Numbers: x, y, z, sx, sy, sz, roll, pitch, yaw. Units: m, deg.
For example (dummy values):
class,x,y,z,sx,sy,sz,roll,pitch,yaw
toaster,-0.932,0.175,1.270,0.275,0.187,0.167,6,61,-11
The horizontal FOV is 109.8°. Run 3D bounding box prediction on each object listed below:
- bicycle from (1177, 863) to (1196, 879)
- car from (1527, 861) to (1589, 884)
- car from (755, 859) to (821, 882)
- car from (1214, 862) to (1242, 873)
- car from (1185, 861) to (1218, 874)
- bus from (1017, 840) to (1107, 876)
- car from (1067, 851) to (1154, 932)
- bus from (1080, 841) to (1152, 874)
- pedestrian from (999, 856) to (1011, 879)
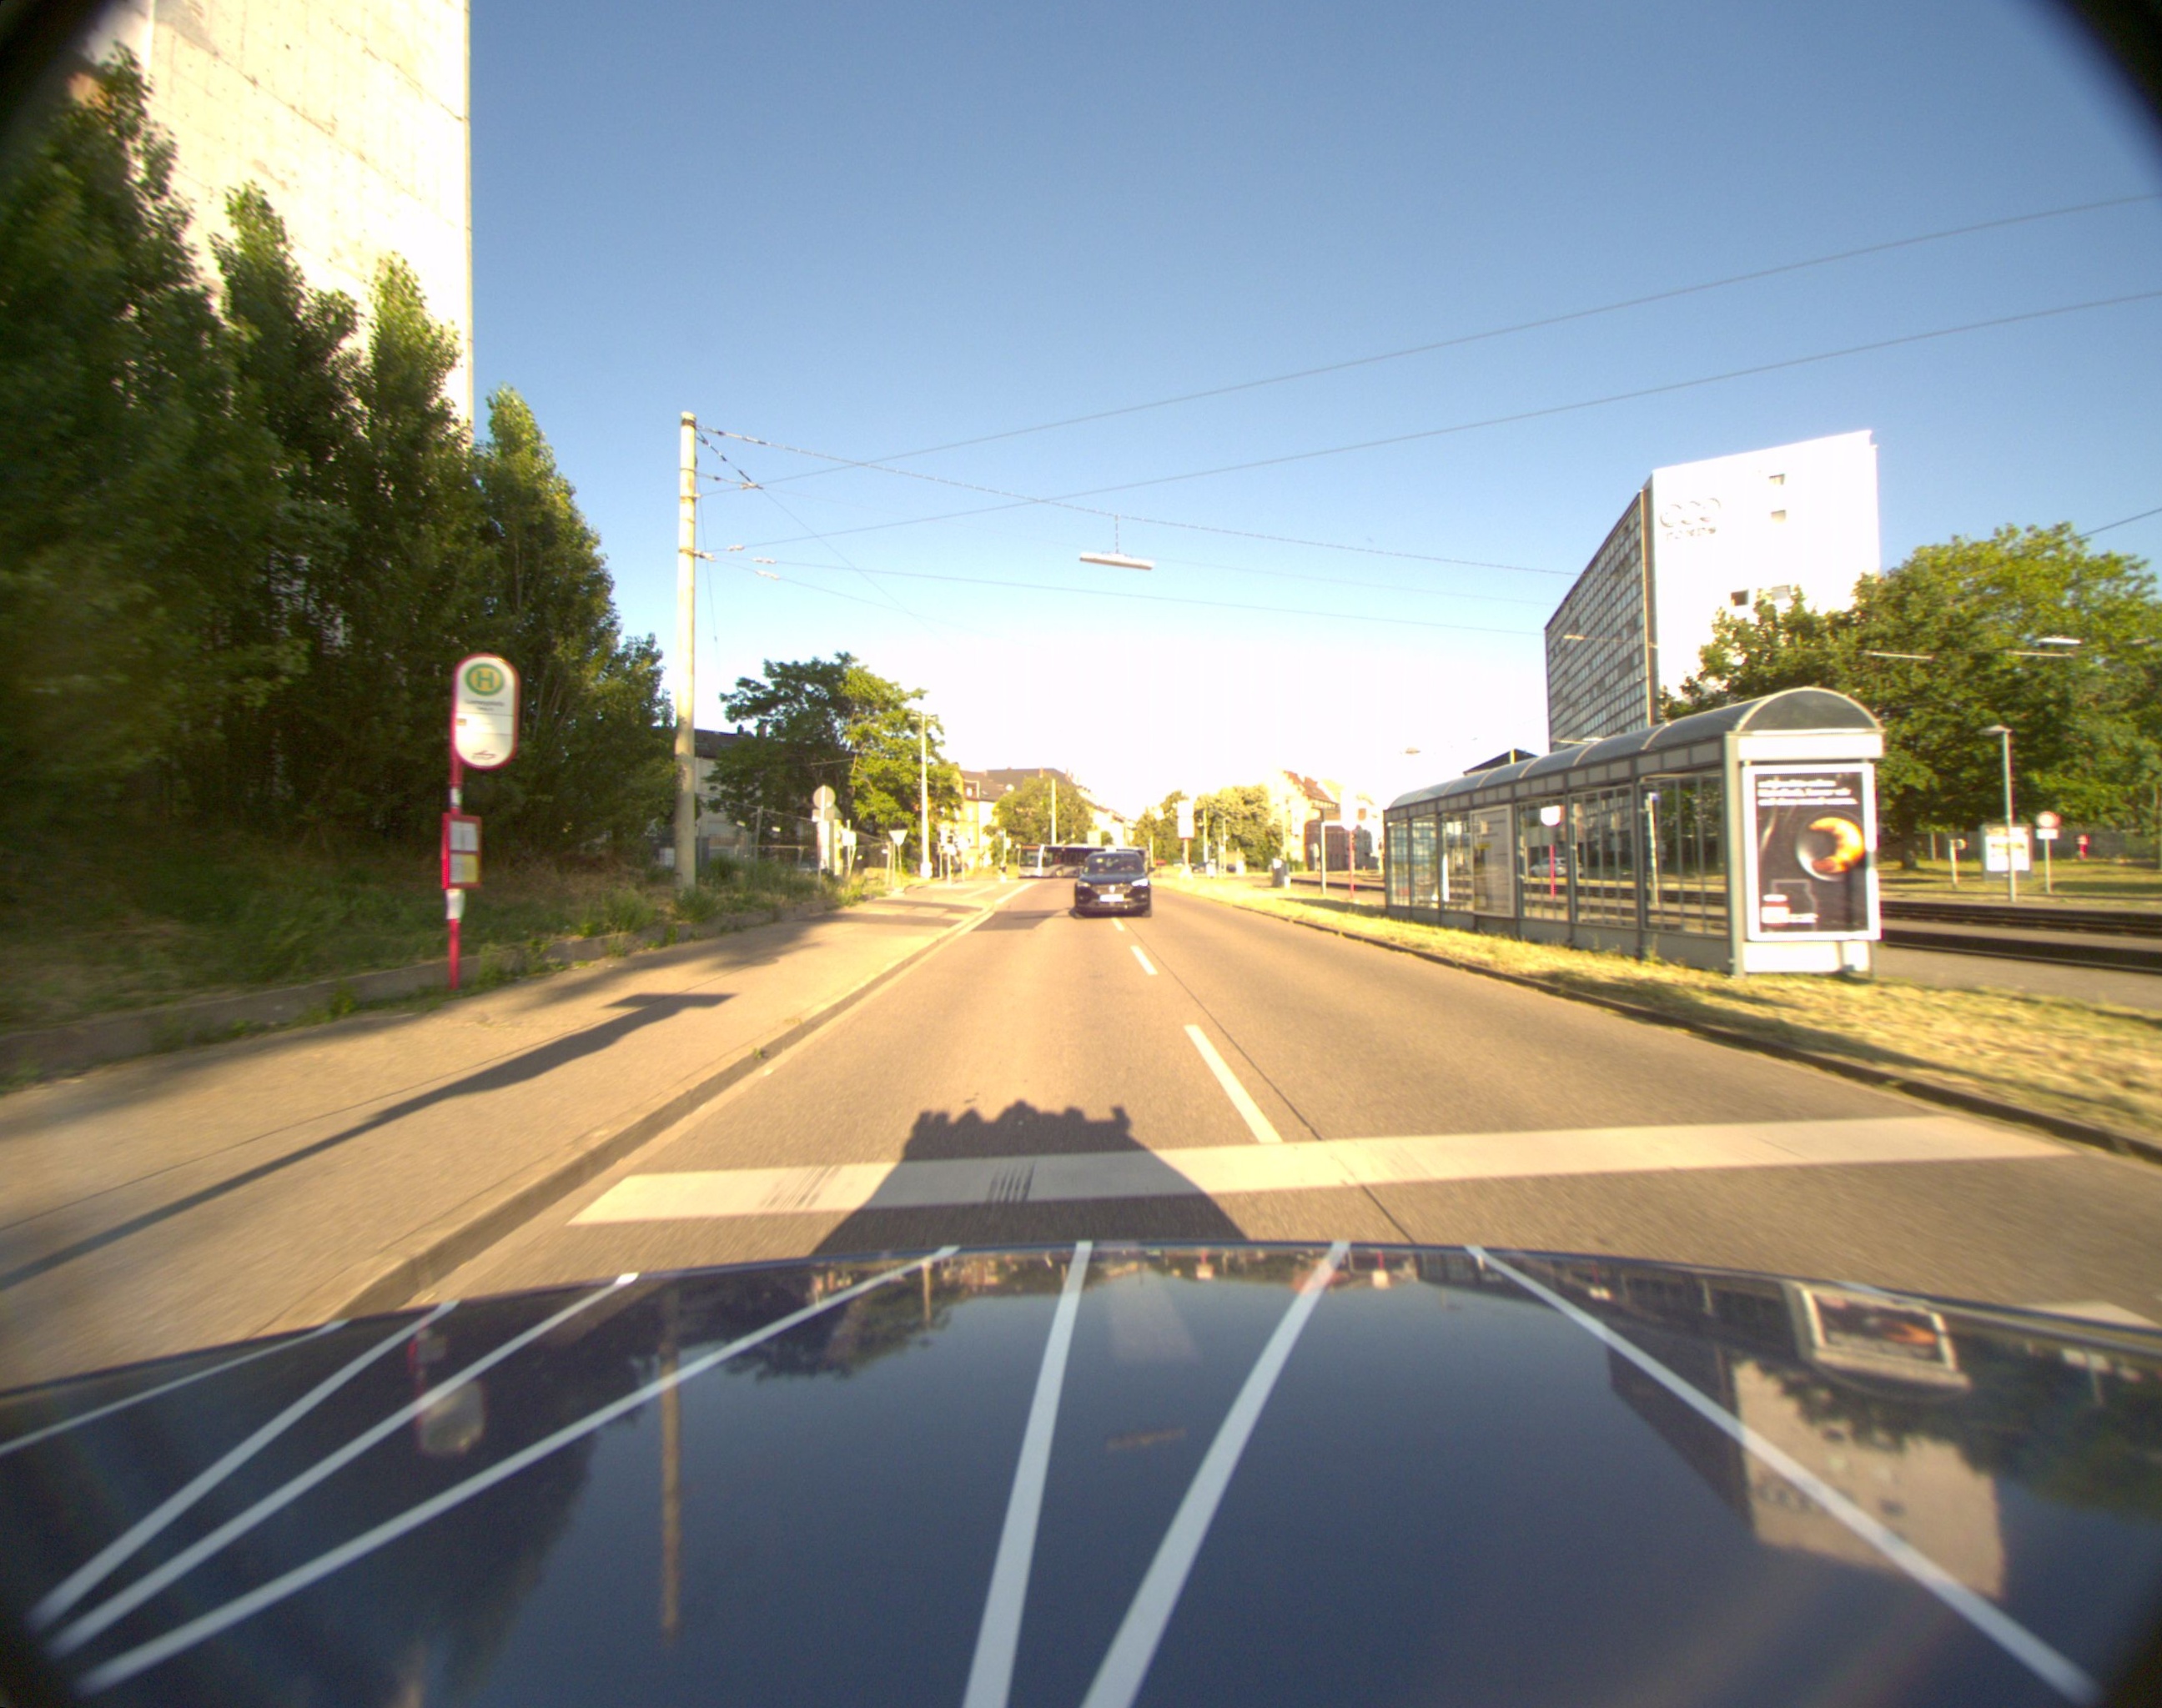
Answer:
class,x,y,z,sx,sy,sz,roll,pitch,yaw
bicycle,7.149,1.147,51.431,0.606,0.987,1.750,-1,0,30
car,33.837,1.269,54.049,1.740,1.539,4.437,-1,-1,3
car,-21.237,1.184,55.169,4.335,1.539,1.817,-1,0,-17
car,19.730,1.826,101.821,3.987,1.405,1.737,0,-1,-43
car,14.182,1.548,89.482,3.987,1.465,1.737,0,-1,-43
bus,-1.484,0.350,67.063,2.606,3.007,9.598,-1,0,36
car,0.667,0.788,18.428,1.818,1.670,4.623,-1,1,1
bus,3.520,0.323,73.938,2.606,3.007,8.877,-1,0,35
pedestrian,-5.196,0.914,52.028,0.592,1.586,0.548,-1,0,35
